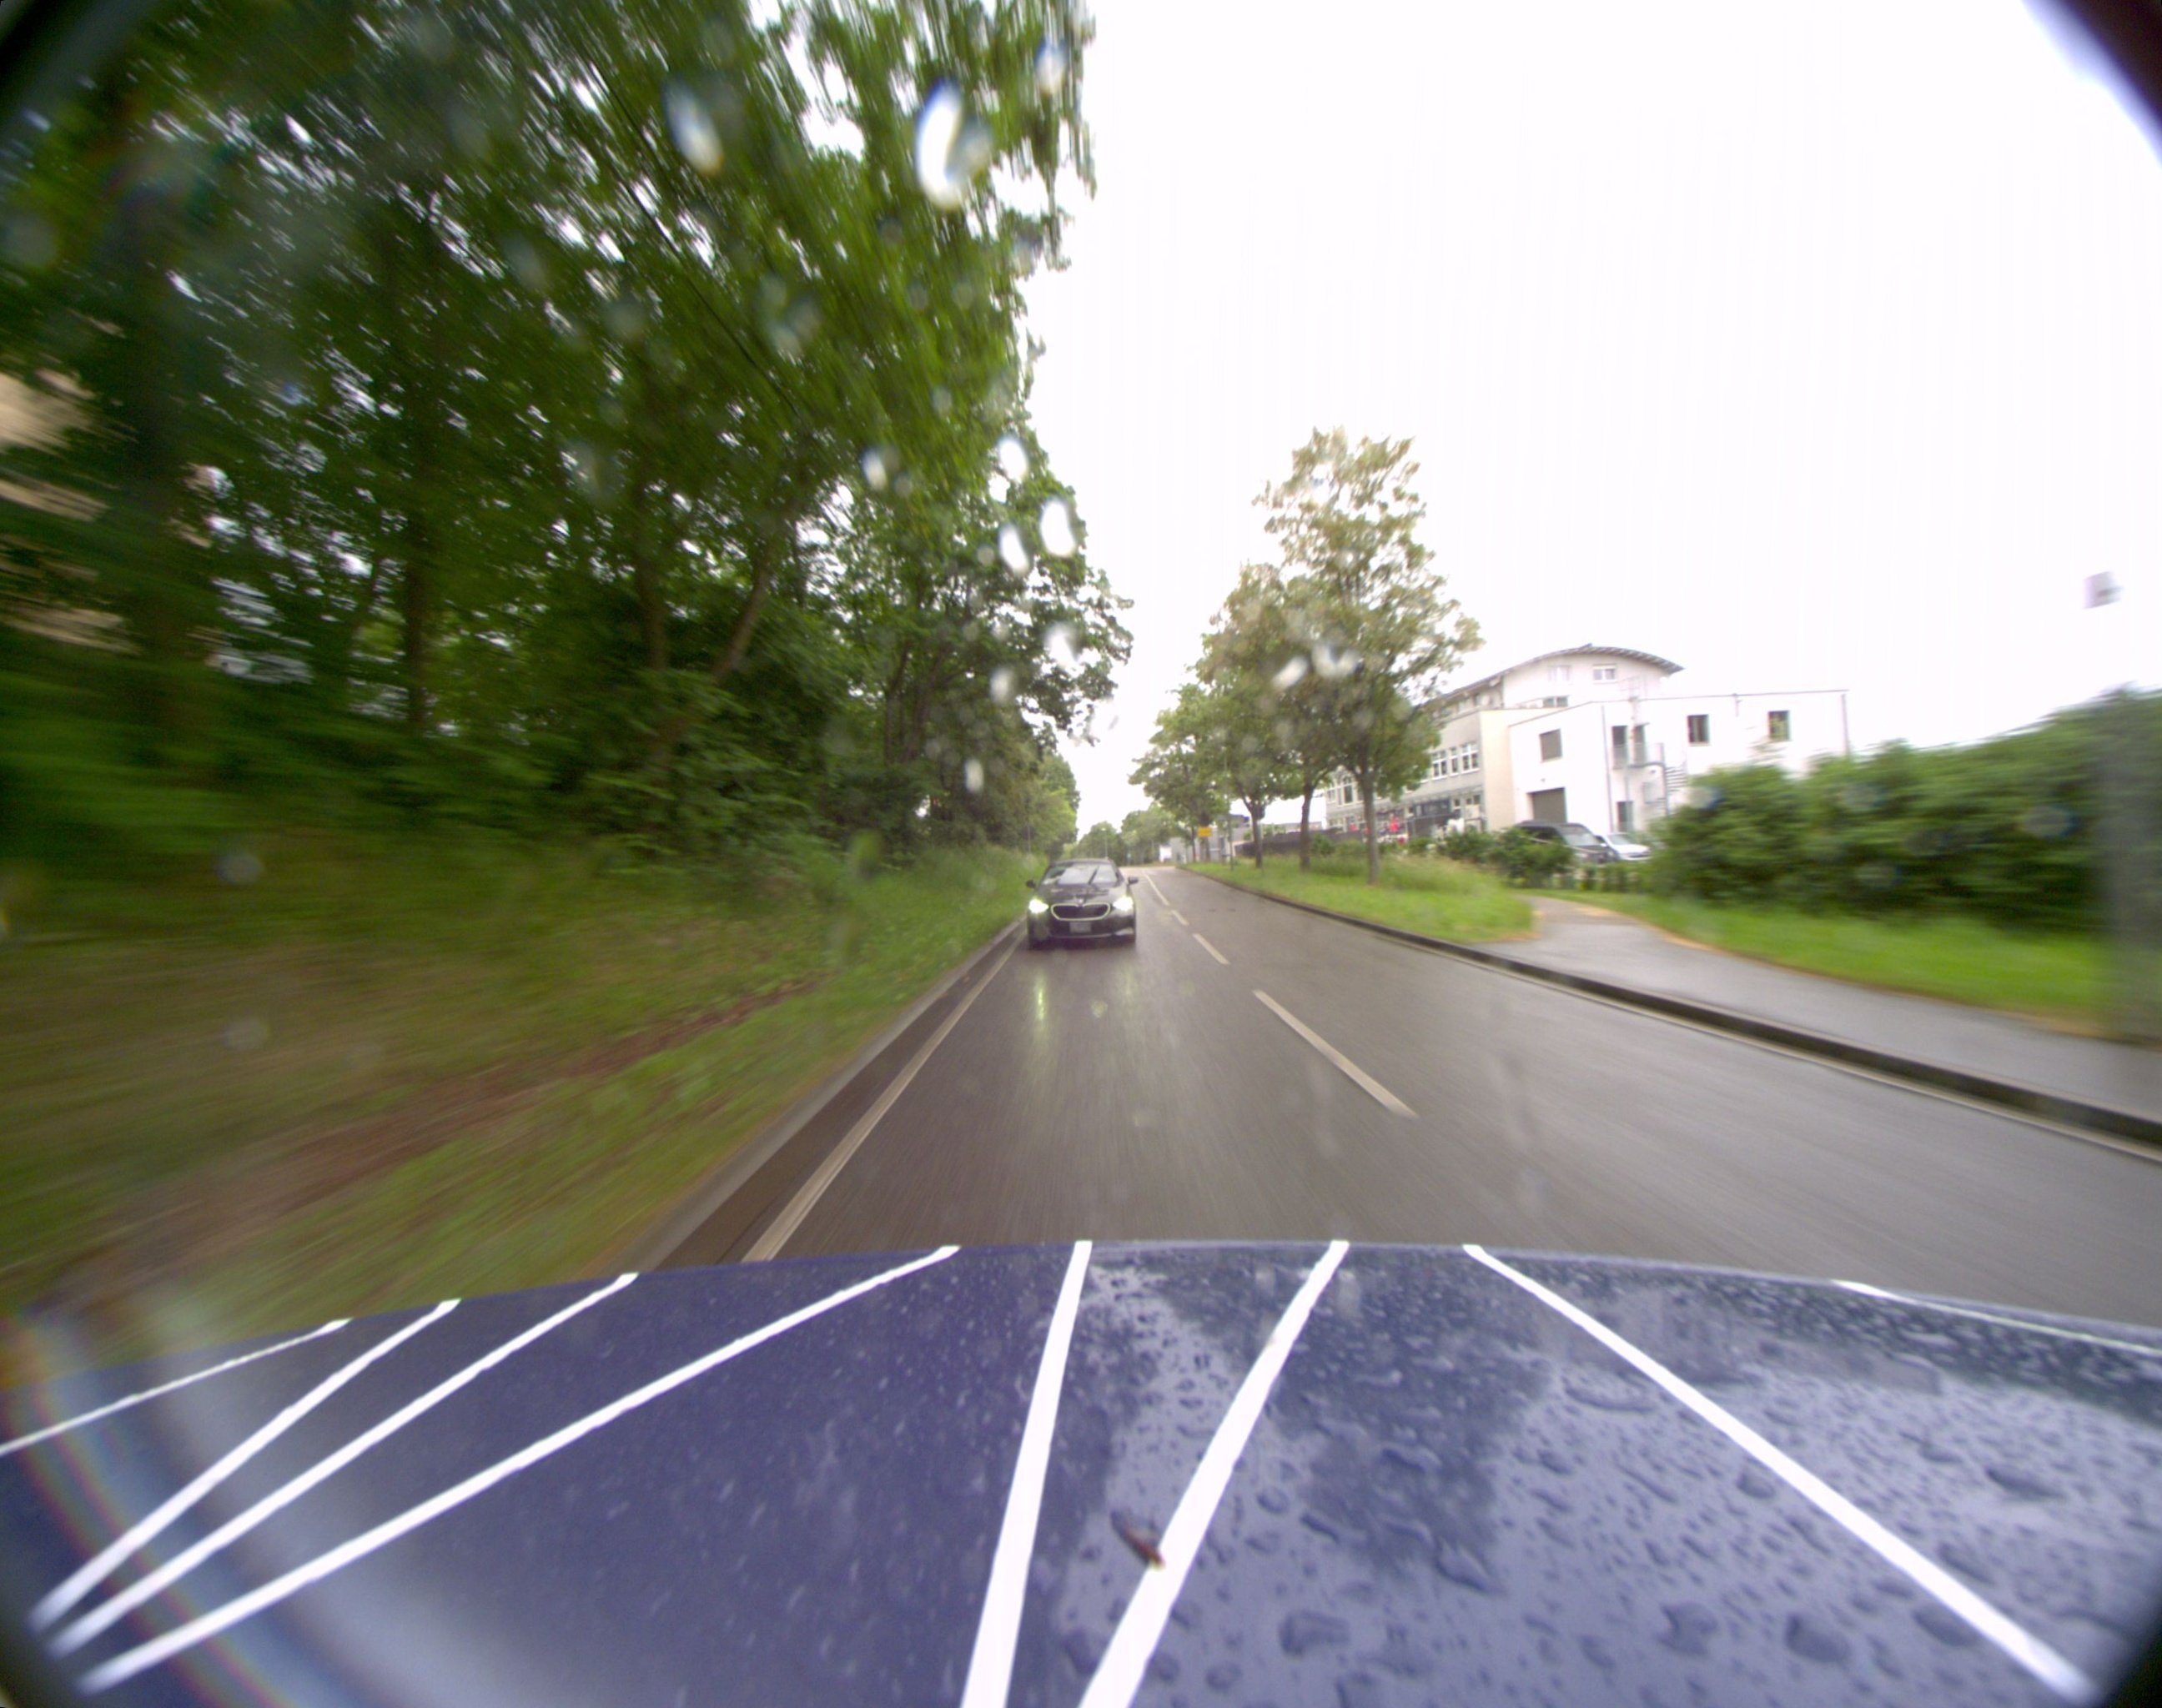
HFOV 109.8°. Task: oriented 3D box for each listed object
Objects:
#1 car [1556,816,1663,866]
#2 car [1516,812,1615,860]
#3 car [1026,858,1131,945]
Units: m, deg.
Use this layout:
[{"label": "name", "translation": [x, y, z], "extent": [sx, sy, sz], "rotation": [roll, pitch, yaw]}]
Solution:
[{"label": "car", "translation": [28.256, -0.781, 40.896], "extent": [1.910, 1.908, 5.217], "rotation": [-3, 9, -1]}, {"label": "car", "translation": [26.235, -1.064, 41.413], "extent": [1.910, 1.908, 5.217], "rotation": [-3, 9, -1]}, {"label": "car", "translation": [-0.116, 0.880, 15.839], "extent": [1.845, 1.471, 3.999], "rotation": [-2, 0, -2]}]
